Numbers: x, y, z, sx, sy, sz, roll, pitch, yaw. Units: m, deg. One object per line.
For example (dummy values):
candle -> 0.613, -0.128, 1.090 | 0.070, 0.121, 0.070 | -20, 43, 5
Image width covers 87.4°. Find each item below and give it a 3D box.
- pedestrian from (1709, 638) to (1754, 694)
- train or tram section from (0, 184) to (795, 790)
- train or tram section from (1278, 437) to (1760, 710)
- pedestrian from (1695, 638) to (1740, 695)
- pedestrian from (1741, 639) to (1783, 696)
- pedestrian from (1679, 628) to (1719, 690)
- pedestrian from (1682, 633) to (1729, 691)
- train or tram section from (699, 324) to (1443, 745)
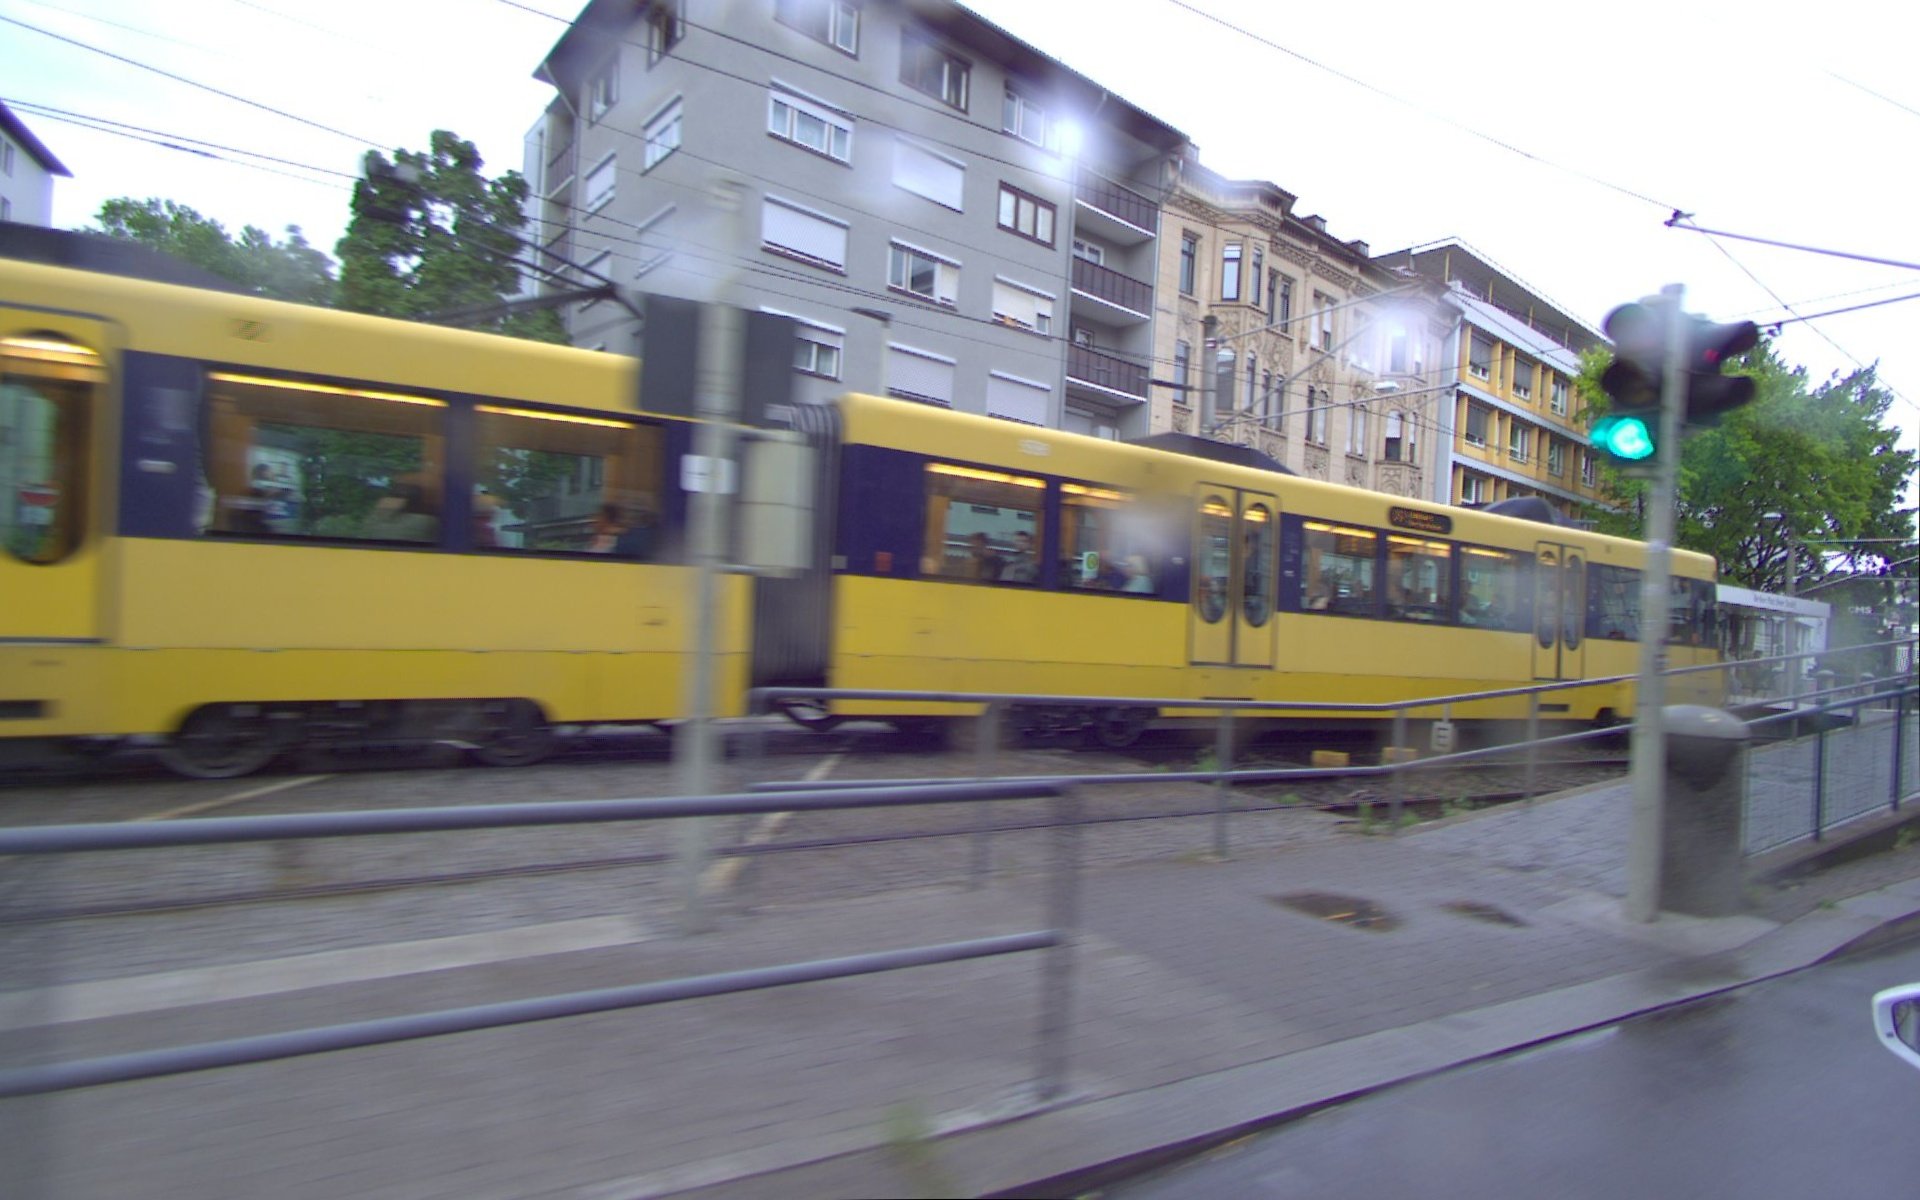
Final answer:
pedestrian -> 23.659, 2.048, 30.803 | 0.768, 1.669, 0.769 | 3, -6, -29
train or tram section -> -6.228, -0.717, 7.645 | 9.400, 3.741, 2.764 | 2, 1, -31
train or tram section -> 9.996, -0.280, 17.446 | 9.601, 3.741, 2.764 | 2, 1, -31
pedestrian -> 22.881, 2.011, 30.337 | 0.768, 1.669, 0.769 | 3, -6, -29
pedestrian -> 24.319, 2.058, 30.460 | 0.885, 1.670, 0.674 | 3, -5, -29
pedestrian -> 20.756, 1.652, 28.217 | 0.675, 1.682, 0.630 | 3, 0, -30
pedestrian -> 21.908, 1.839, 29.522 | 0.768, 1.669, 0.769 | 3, -6, -29
train or tram section -> 1.824, -0.502, 12.557 | 9.400, 3.741, 2.764 | 2, 1, -31
